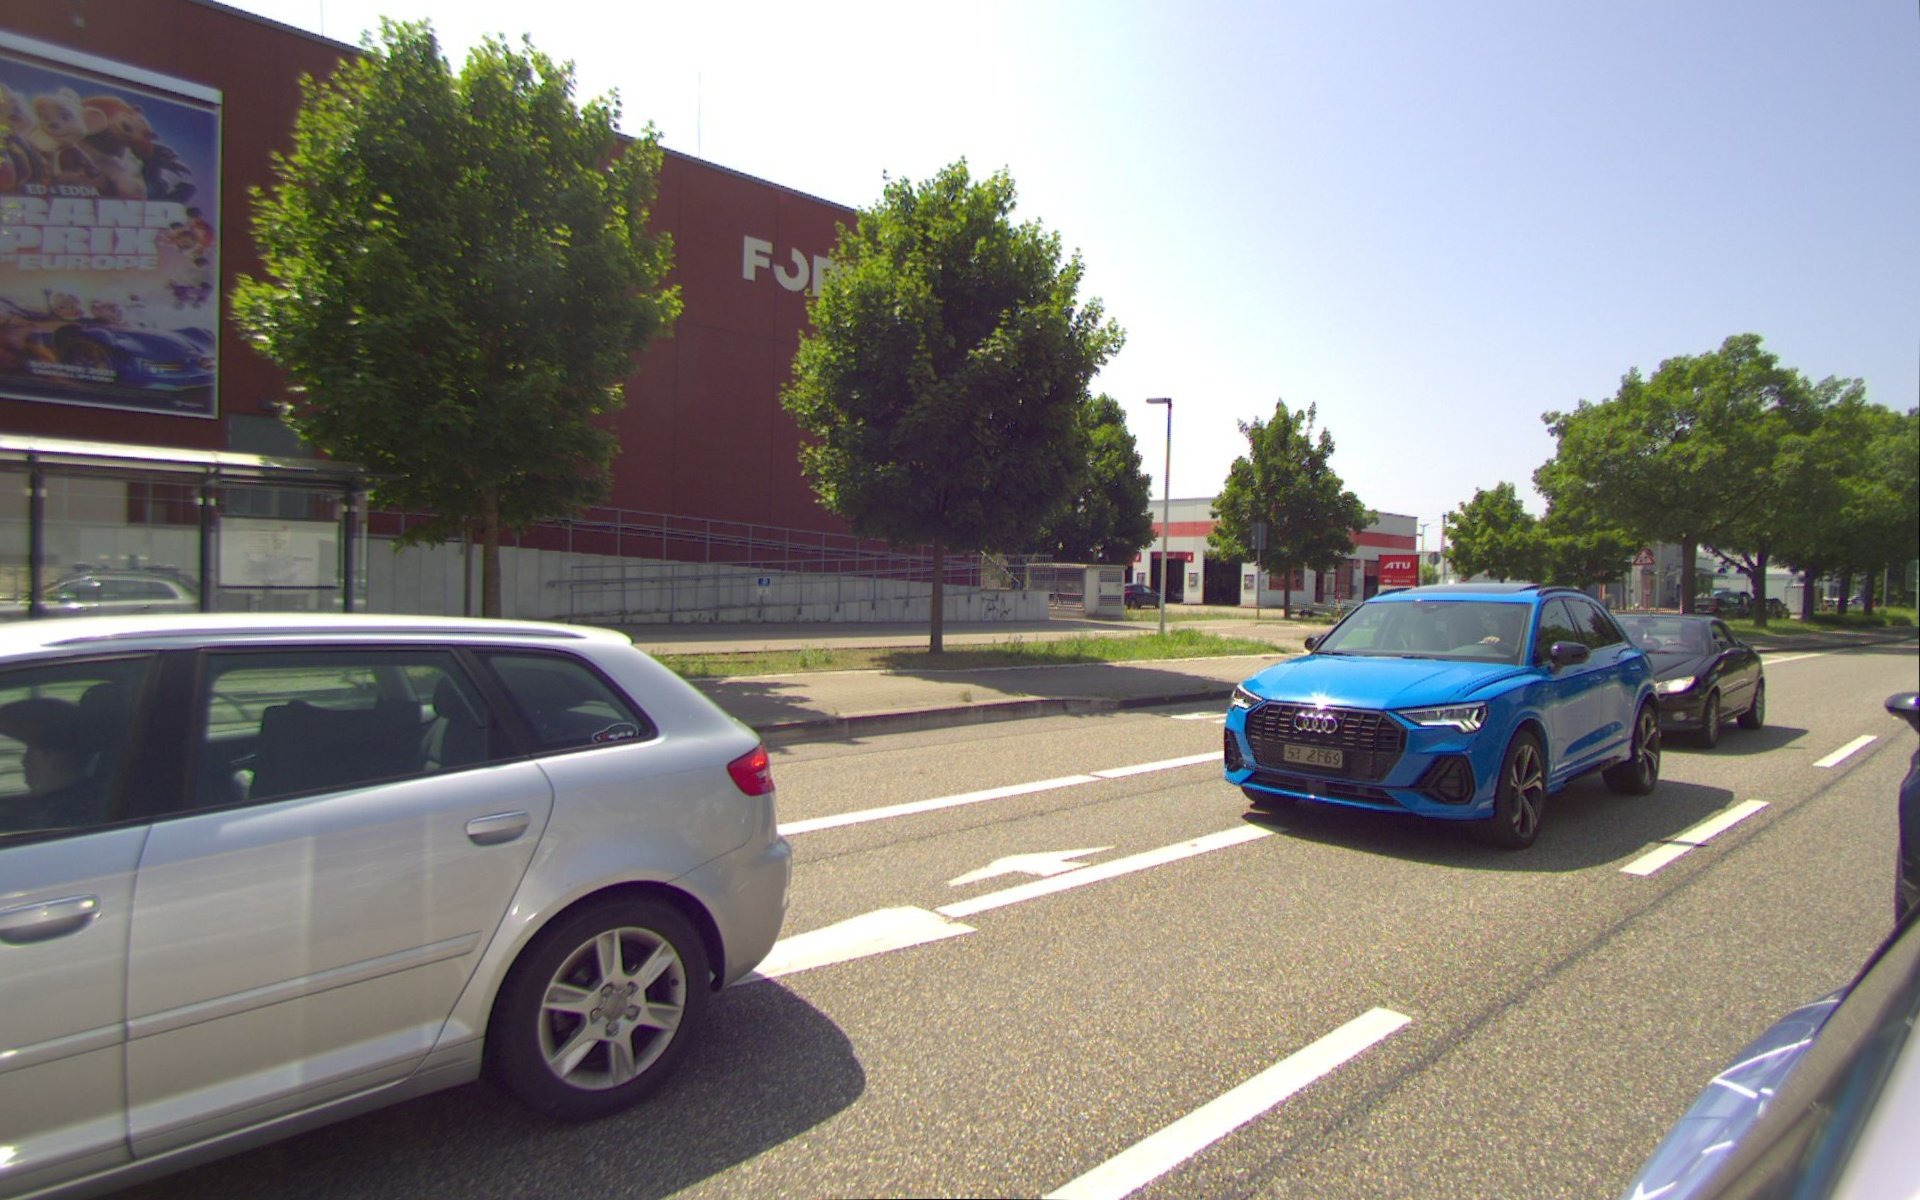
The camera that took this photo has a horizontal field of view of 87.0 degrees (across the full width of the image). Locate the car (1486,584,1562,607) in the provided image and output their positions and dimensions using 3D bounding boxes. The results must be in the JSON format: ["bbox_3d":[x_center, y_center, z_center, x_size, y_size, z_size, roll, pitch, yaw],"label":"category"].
[{"bbox_3d":[36.376,-0.293,65.301,1.662,1.317,3.991,0,2,-44],"label":"car"}]

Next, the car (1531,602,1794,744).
[{"bbox_3d":[8.184,0.713,11.664,3.931,1.361,1.640,0,-1,-42],"label":"car"}]

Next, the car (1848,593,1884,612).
[{"bbox_3d":[75.271,0.172,84.074,3.930,1.485,1.719,0,2,-41],"label":"car"}]

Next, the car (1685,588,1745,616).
[{"bbox_3d":[38.830,0.099,51.996,3.930,1.388,1.641,0,2,-41],"label":"car"}]

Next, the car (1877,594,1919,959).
[{"bbox_3d":[5.676,0.719,4.745,3.931,1.421,1.640,0,2,-42],"label":"car"}]

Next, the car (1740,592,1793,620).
[{"bbox_3d":[47.292,0.318,59.331,3.930,1.539,1.719,0,2,-41],"label":"car"}]

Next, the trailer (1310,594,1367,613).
[{"bbox_3d":[17.631,0.161,47.171,1.244,0.771,2.137,0,2,-39],"label":"trailer"}]

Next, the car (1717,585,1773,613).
[{"bbox_3d":[43.454,-0.046,56.009,3.930,1.485,1.719,0,2,-41],"label":"car"}]

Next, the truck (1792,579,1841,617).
[{"bbox_3d":[60.288,-0.154,71.212,3.929,2.599,1.904,0,1,-40],"label":"truck"}]

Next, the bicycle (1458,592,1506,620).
[{"bbox_3d":[22.753,0.248,44.153,1.779,1.138,0.506,3,1,43],"label":"bicycle"}]

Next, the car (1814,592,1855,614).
[{"bbox_3d":[64.702,0.215,74.862,3.930,1.485,1.719,0,2,-41],"label":"car"}]

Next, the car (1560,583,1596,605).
[{"bbox_3d":[48.321,-0.477,79.112,1.753,1.616,3.940,2,2,42],"label":"car"}]

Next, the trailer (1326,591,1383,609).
[{"bbox_3d":[18.795,-0.007,48.233,1.369,0.771,2.137,0,2,-39],"label":"trailer"}]

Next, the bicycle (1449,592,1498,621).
[{"bbox_3d":[21.877,0.270,43.123,1.779,1.138,0.506,3,1,43],"label":"bicycle"}]

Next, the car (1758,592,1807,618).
[{"bbox_3d":[51.669,0.287,63.548,3.930,1.532,1.719,0,2,-41],"label":"car"}]

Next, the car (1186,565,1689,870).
[{"bbox_3d":[3.731,0.604,7.506,4.324,1.616,1.840,0,1,-42],"label":"car"}]

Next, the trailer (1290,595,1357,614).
[{"bbox_3d":[16.406,0.186,45.738,1.423,0.771,2.467,0,2,-39],"label":"trailer"}]

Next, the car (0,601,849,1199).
[{"bbox_3d":[-2.420,0.698,2.655,4.022,1.379,1.714,0,0,-43],"label":"car"}]

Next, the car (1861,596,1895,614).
[{"bbox_3d":[79.971,0.466,88.136,3.930,1.485,1.719,0,2,-41],"label":"car"}]

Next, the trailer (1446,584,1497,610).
[{"bbox_3d":[32.980,-0.195,65.253,1.391,1.546,2.638,0,2,-43],"label":"trailer"}]

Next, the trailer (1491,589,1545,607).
[{"bbox_3d":[34.914,-0.135,63.325,1.552,1.065,2.638,0,2,-43],"label":"trailer"}]

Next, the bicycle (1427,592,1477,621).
[{"bbox_3d":[20.641,0.249,42.494,1.779,1.138,0.506,3,1,43],"label":"bicycle"}]

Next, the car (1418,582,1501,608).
[{"bbox_3d":[29.131,-0.300,59.083,1.718,1.419,3.991,0,2,-44],"label":"car"}]

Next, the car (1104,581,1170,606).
[{"bbox_3d":[10.450,-0.362,59.658,4.074,1.390,1.716,0,2,-42],"label":"car"}]

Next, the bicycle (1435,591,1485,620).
[{"bbox_3d":[21.155,0.235,42.840,1.779,1.138,0.506,3,1,43],"label":"bicycle"}]

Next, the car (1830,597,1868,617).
[{"bbox_3d":[69.666,0.541,79.273,3.930,1.485,1.719,0,2,-41],"label":"car"}]

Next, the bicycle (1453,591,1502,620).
[{"bbox_3d":[22.286,0.229,43.613,1.779,1.138,0.506,3,1,43],"label":"bicycle"}]

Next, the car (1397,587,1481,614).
[{"bbox_3d":[27.340,-0.001,57.800,1.718,1.419,3.992,0,2,-43],"label":"car"}]
